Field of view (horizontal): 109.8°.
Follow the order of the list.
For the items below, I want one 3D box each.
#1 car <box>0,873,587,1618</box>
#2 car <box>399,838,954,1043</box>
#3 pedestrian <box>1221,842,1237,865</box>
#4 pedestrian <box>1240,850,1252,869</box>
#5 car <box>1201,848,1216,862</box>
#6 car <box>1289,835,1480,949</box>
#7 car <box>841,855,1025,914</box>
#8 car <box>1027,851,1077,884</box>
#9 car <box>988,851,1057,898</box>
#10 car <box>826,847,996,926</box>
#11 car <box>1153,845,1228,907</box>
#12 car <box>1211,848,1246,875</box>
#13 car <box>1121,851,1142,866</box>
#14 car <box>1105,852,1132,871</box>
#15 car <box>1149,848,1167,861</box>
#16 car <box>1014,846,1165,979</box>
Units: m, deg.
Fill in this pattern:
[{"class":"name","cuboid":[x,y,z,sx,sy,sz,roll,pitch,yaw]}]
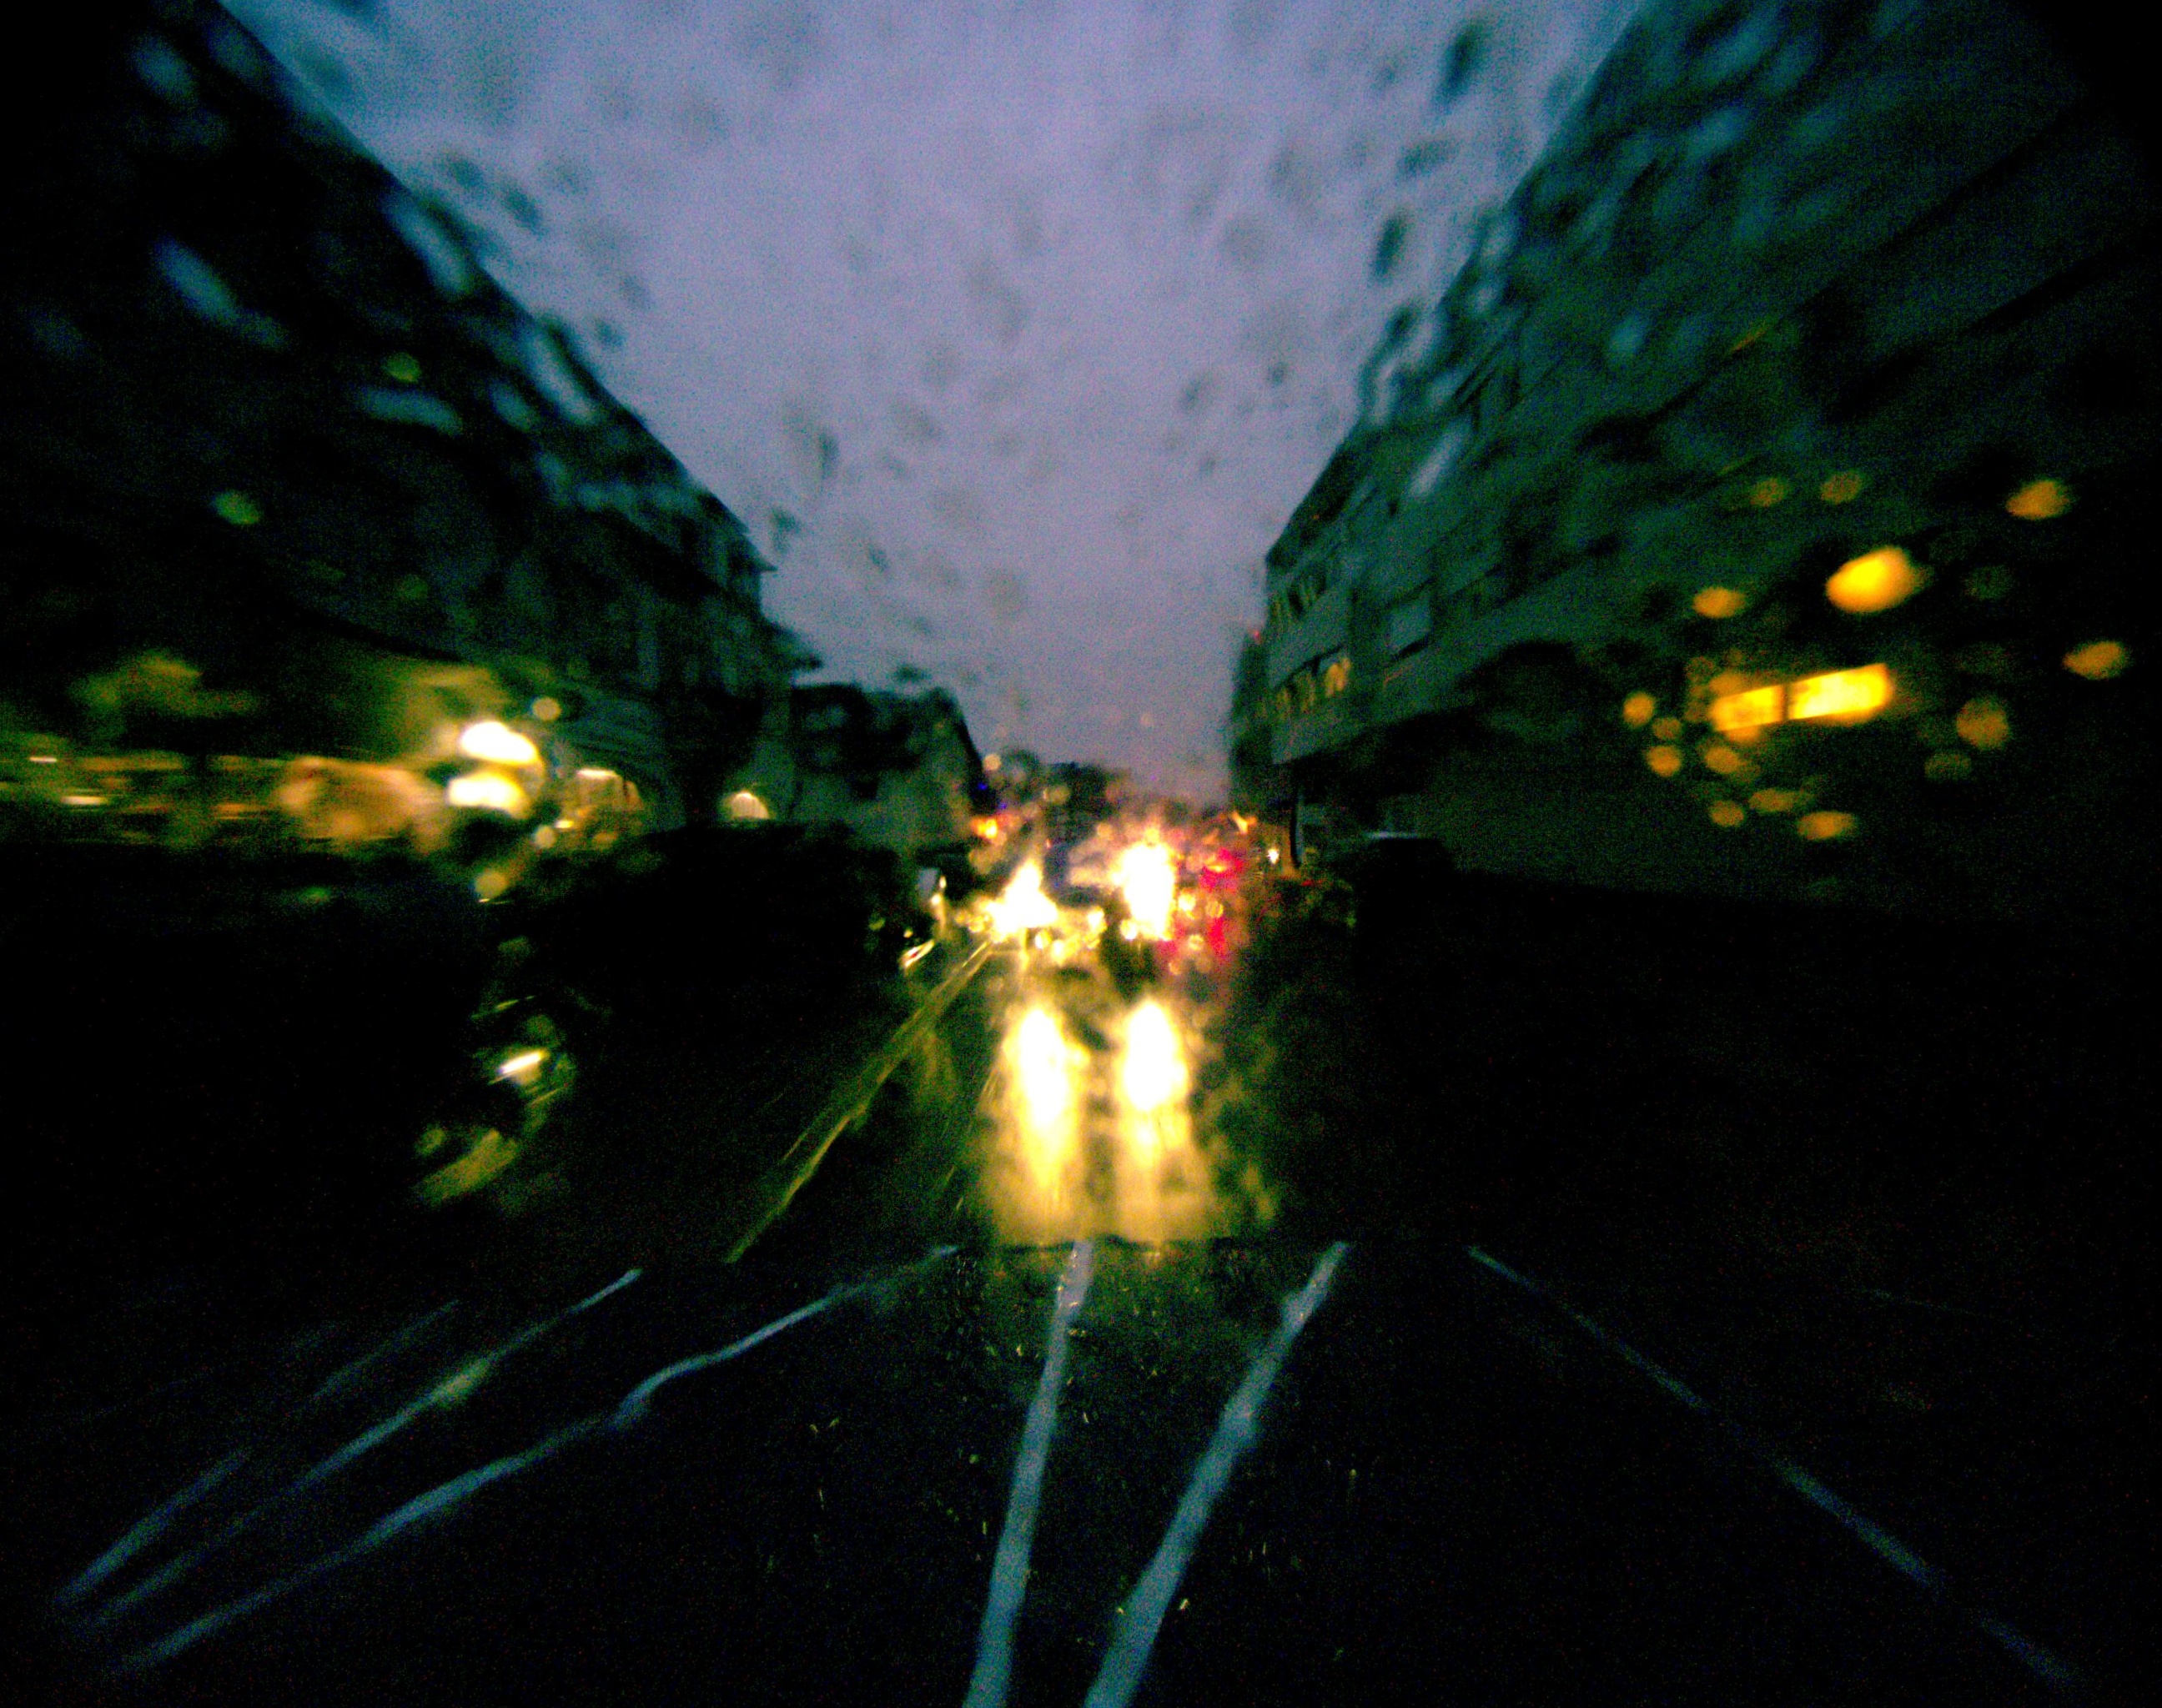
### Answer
[{"class":"car","cuboid":[-4.072,0.904,2.361,3.881,1.570,1.681,-1,1,-4]},{"class":"car","cuboid":[-3.749,0.759,7.815,4.616,1.765,1.944,-1,0,-3]},{"class":"pedestrian","cuboid":[12.660,-0.051,64.914,1.200,1.927,0.977,0,1,16]},{"class":"pedestrian","cuboid":[12.166,0.405,56.008,0.757,1.303,0.829,-2,1,7]},{"class":"car","cuboid":[15.734,0.132,93.547,1.724,1.605,3.818,-3,0,10]},{"class":"car","cuboid":[5.052,0.561,13.241,1.798,1.633,3.812,-3,0,1]},{"class":"car","cuboid":[-3.796,0.761,20.094,4.478,1.465,1.898,0,1,0]},{"class":"car","cuboid":[-1.322,0.586,36.966,1.798,1.452,4.532,1,1,6]},{"class":"car","cuboid":[-2.047,0.671,27.737,1.886,1.538,4.672,0,0,3]},{"class":"car","cuboid":[-3.733,0.701,17.159,3.514,1.671,1.715,1,1,-4]},{"class":"car","cuboid":[3.105,0.569,22.278,1.815,1.587,4.400,-2,0,4]},{"class":"car","cuboid":[8.400,0.397,43.469,1.678,1.438,4.430,1,1,8]},{"class":"car","cuboid":[5.248,0.450,79.022,1.797,1.501,4.002,1,1,9]},{"class":"car","cuboid":[3.113,0.597,62.615,1.797,1.501,4.002,1,1,9]},{"class":"car","cuboid":[9.492,0.067,93.359,1.797,1.501,4.003,1,1,10]},{"class":"car","cuboid":[0.106,0.743,11.894,1.879,1.622,3.999,-3,1,0]}]
